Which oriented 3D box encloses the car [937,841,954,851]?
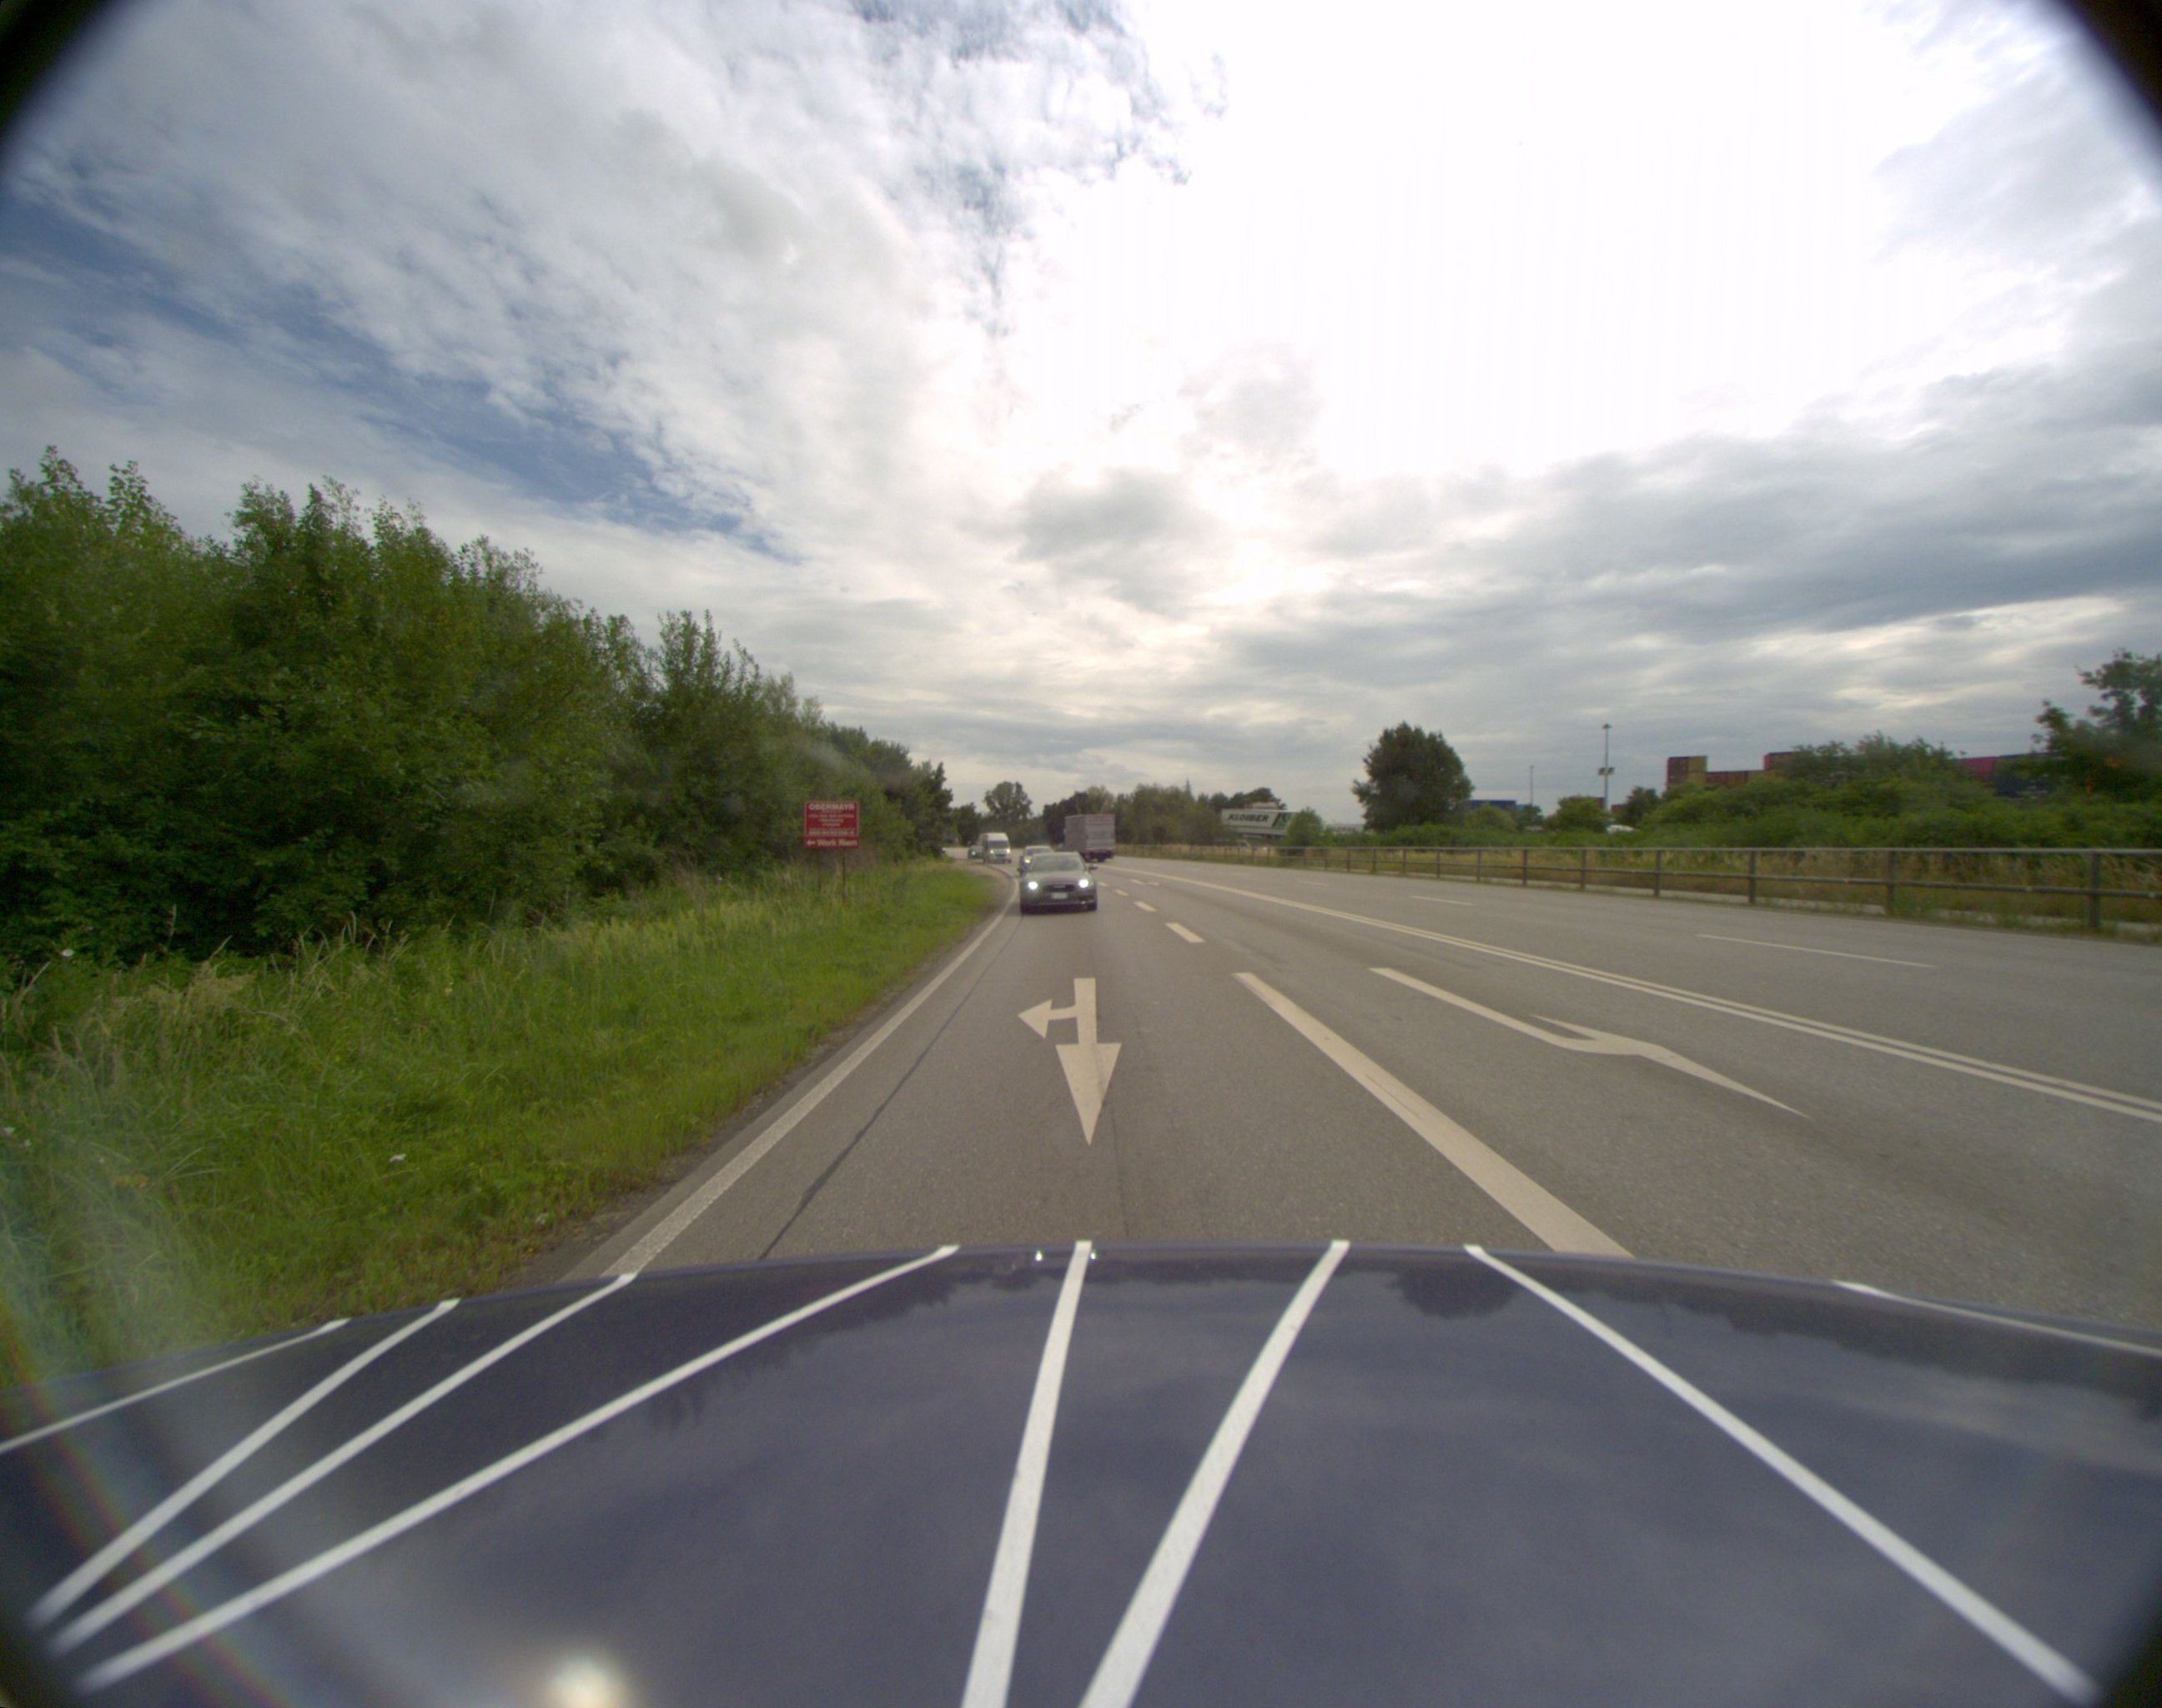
[{"bbox_3d":[-19.784,-1.152,110.511,1.733,1.357,3.992,-1,1,-20],"label":"car"}]

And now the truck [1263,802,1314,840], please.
[{"bbox_3d":[28.365,-4.506,103.872,2.809,4.969,6.172,-4,3,-39],"label":"truck"}]

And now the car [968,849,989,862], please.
[{"bbox_3d":[-11.333,0.128,83.658,1.733,1.357,3.994,-1,1,-15],"label":"car"}]

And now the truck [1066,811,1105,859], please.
[{"bbox_3d":[0.400,-1.689,67.692,2.549,4.073,3.995,-2,1,-13],"label":"truck"}]

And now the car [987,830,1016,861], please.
[{"bbox_3d":[-7.300,-0.784,69.088,2.220,2.655,5.234,-4,1,-9],"label":"car"}]

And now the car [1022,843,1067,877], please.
[{"bbox_3d":[-2.005,0.290,40.851,2.022,1.604,4.276,-2,2,-8],"label":"car"}]

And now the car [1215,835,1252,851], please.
[{"bbox_3d":[19.402,-1.414,96.823,4.538,1.865,2.001,-1,2,11],"label":"car"}]

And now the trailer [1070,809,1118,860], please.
[{"bbox_3d":[1.023,-1.631,65.193,2.536,4.077,6.726,-2,1,-13],"label":"trailer"}]

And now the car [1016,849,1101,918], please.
[{"bbox_3d":[-0.594,0.670,19.737,1.958,1.527,3.998,-1,1,-2],"label":"car"}]

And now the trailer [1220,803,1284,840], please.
[{"bbox_3d":[24.337,-4.557,108.743,2.812,4.969,8.958,-4,3,-39],"label":"trailer"}]

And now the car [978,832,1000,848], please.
[{"bbox_3d":[-16.262,-2.439,133.522,2.443,2.659,6.875,-2,2,-19],"label":"car"}]
